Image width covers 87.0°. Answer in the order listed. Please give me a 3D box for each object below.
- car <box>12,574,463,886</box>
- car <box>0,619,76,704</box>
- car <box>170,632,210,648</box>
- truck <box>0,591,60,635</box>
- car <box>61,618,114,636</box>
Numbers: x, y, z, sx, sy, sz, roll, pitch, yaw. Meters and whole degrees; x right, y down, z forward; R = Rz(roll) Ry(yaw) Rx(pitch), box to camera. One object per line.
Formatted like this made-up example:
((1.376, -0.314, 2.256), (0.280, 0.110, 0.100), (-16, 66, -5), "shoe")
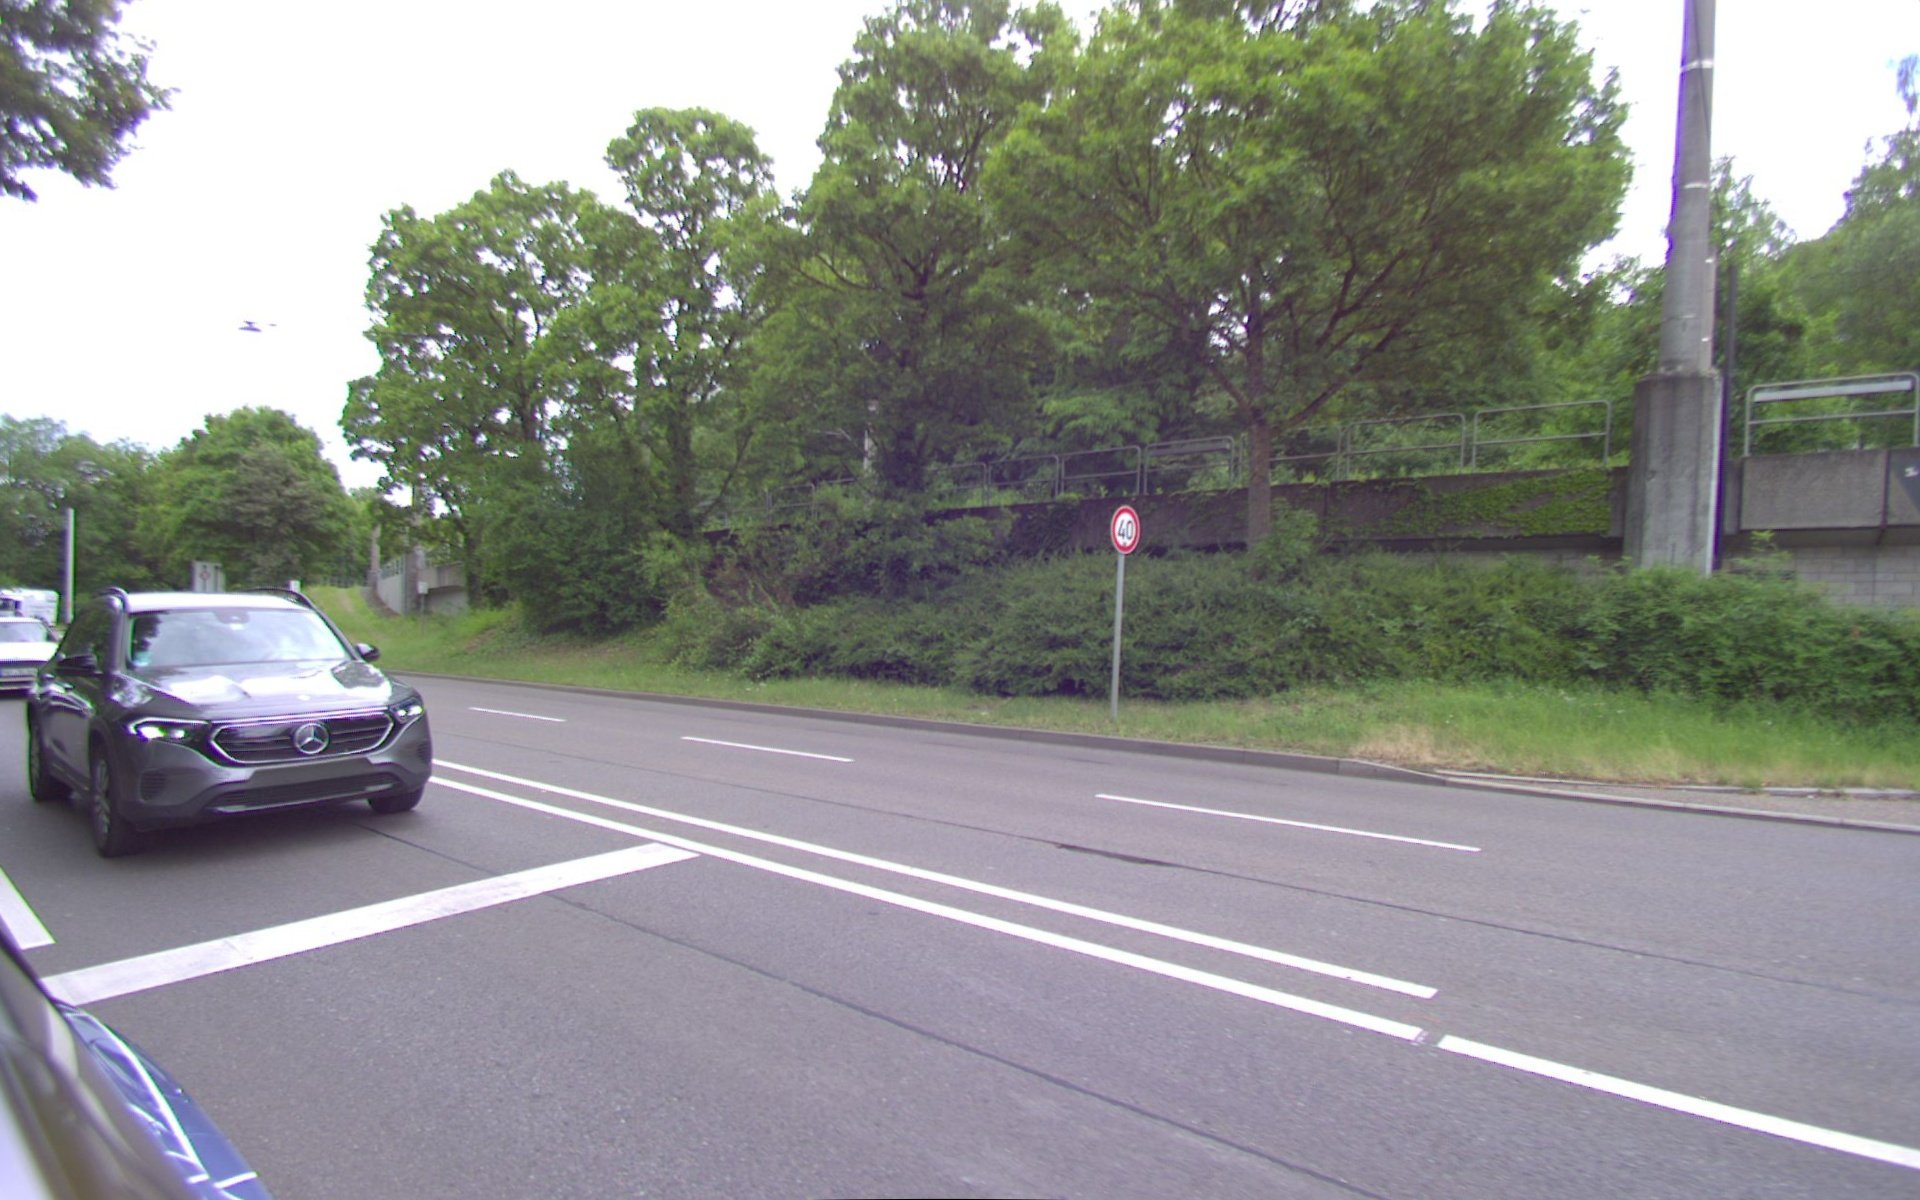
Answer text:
((-5.560, 0.729, 7.553), (4.356, 1.664, 1.830), (-1, -1, 42), "car")
((-17.578, 1.069, 18.495), (3.731, 1.434, 1.666), (-1, -1, 41), "car")
((-73.576, 3.866, 96.777), (1.736, 1.452, 3.903), (2, -3, -17), "car")
((-71.816, 1.041, 77.010), (2.164, 3.180, 6.670), (2, -3, -17), "truck")
((-74.136, 2.337, 86.056), (1.727, 1.372, 4.021), (4, -4, -14), "car")
